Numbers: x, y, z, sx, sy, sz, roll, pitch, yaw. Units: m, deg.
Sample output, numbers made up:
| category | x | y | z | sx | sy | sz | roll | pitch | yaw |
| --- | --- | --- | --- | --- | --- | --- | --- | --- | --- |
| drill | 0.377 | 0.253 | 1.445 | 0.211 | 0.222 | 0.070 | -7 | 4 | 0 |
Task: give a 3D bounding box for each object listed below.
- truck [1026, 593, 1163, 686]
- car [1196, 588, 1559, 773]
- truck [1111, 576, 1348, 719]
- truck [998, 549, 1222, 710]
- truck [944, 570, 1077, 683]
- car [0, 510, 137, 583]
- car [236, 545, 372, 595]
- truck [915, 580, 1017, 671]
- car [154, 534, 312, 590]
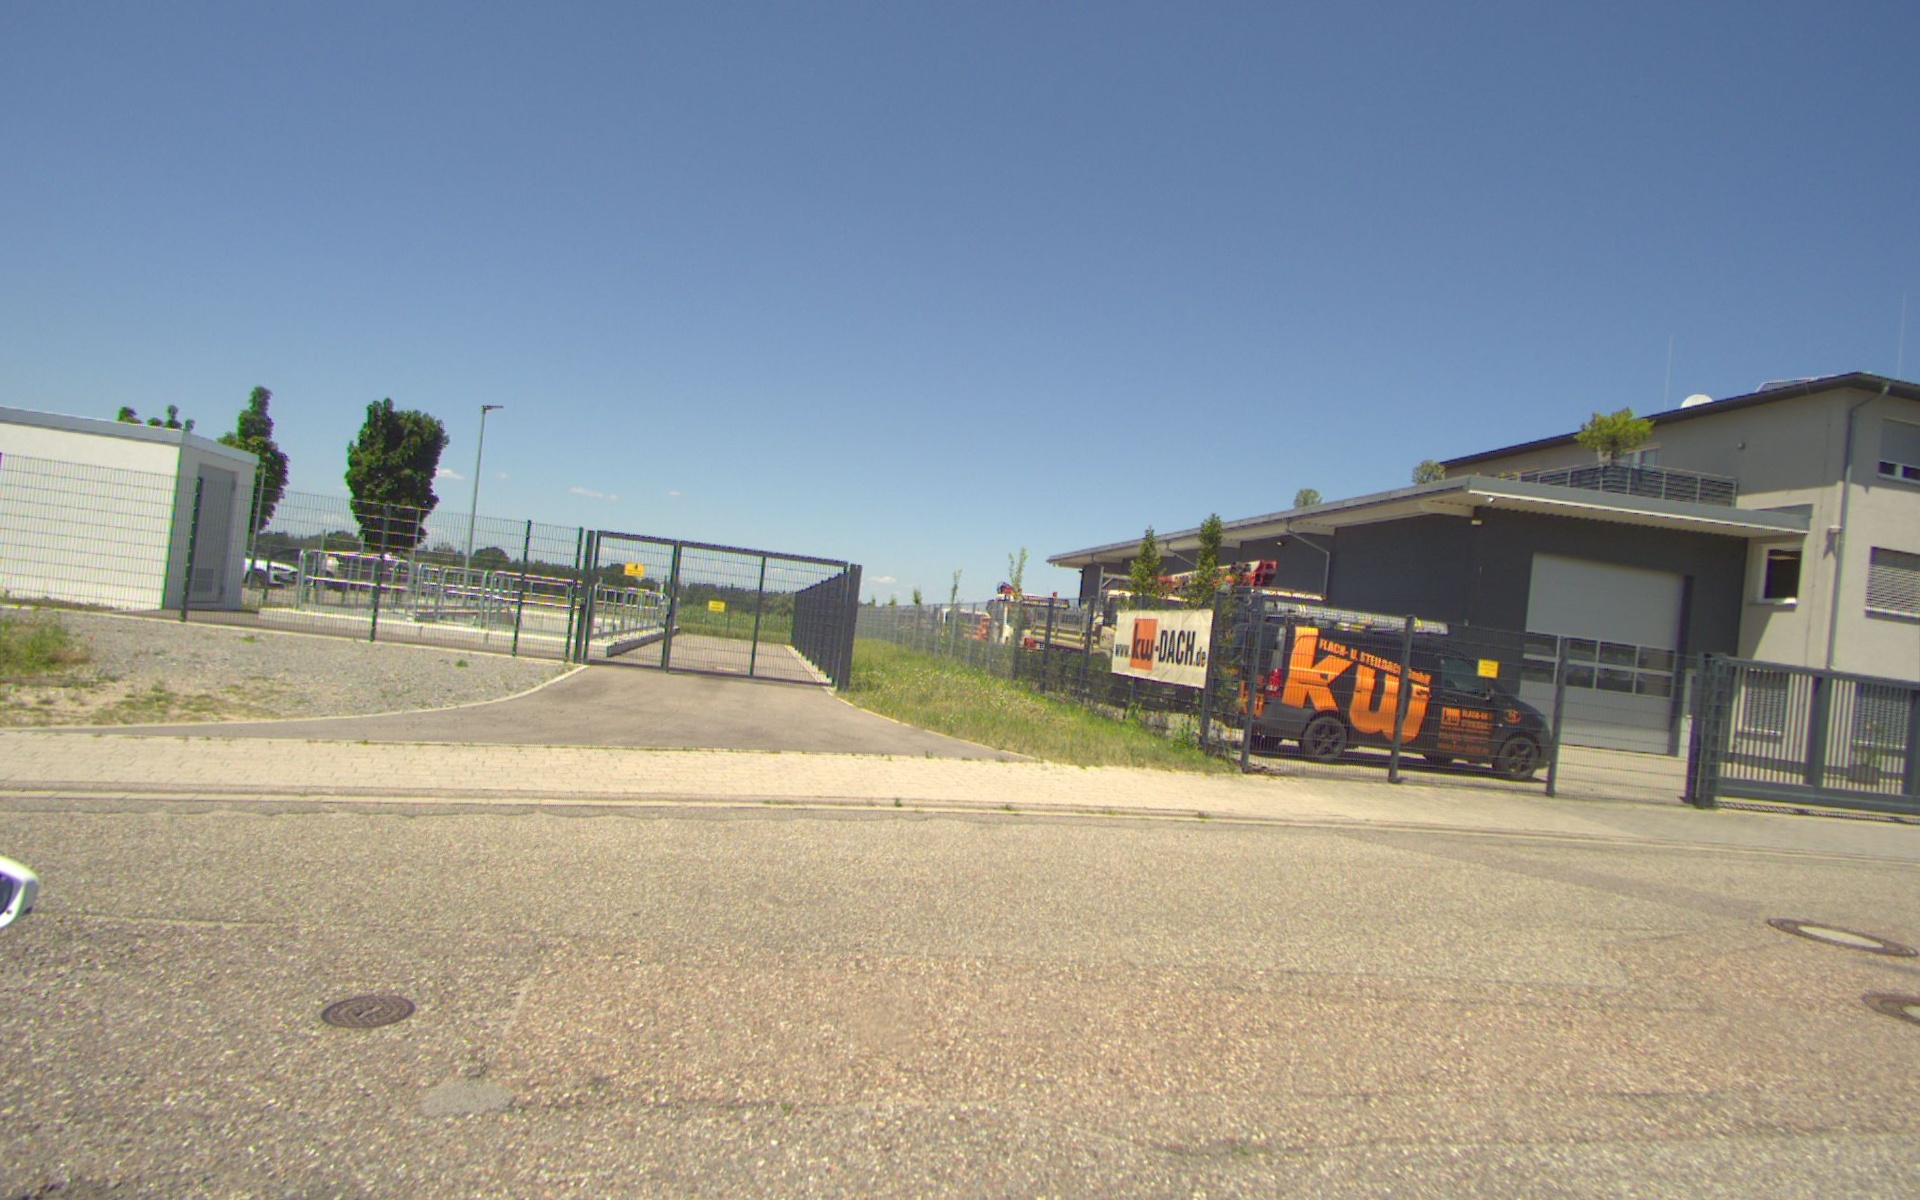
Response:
| category | x | y | z | sx | sy | sz | roll | pitch | yaw |
| --- | --- | --- | --- | --- | --- | --- | --- | --- | --- |
| truck | 5.104 | 1.532 | 40.229 | 2.645 | 3.057 | 8.351 | 6 | -2 | -11 |
| car | 6.258 | 1.214 | 15.266 | 4.701 | 2.186 | 1.918 | 7 | -2 | -12 |
| truck | 7.230 | 1.269 | 28.810 | 2.645 | 3.213 | 8.962 | 6 | -2 | -11 |
| truck | 3.290 | 0.714 | 24.876 | 2.581 | 3.057 | 8.351 | 6 | -2 | -11 |
| truck | 1.441 | 0.859 | 32.787 | 2.454 | 3.057 | 7.023 | 6 | -2 | -11 |
| car | -23.303 | -1.388 | 24.960 | 3.933 | 1.523 | 1.858 | 5 | -1 | -12 |
| car | -25.545 | -1.154 | 39.327 | 3.933 | 1.523 | 1.858 | 5 | -1 | -12 |
| truck | 0.071 | 1.002 | 40.021 | 2.454 | 3.057 | 7.023 | 6 | -2 | -11 |
| car | -25.278 | -1.285 | 35.120 | 3.933 | 1.523 | 1.858 | 5 | -1 | -12 |
